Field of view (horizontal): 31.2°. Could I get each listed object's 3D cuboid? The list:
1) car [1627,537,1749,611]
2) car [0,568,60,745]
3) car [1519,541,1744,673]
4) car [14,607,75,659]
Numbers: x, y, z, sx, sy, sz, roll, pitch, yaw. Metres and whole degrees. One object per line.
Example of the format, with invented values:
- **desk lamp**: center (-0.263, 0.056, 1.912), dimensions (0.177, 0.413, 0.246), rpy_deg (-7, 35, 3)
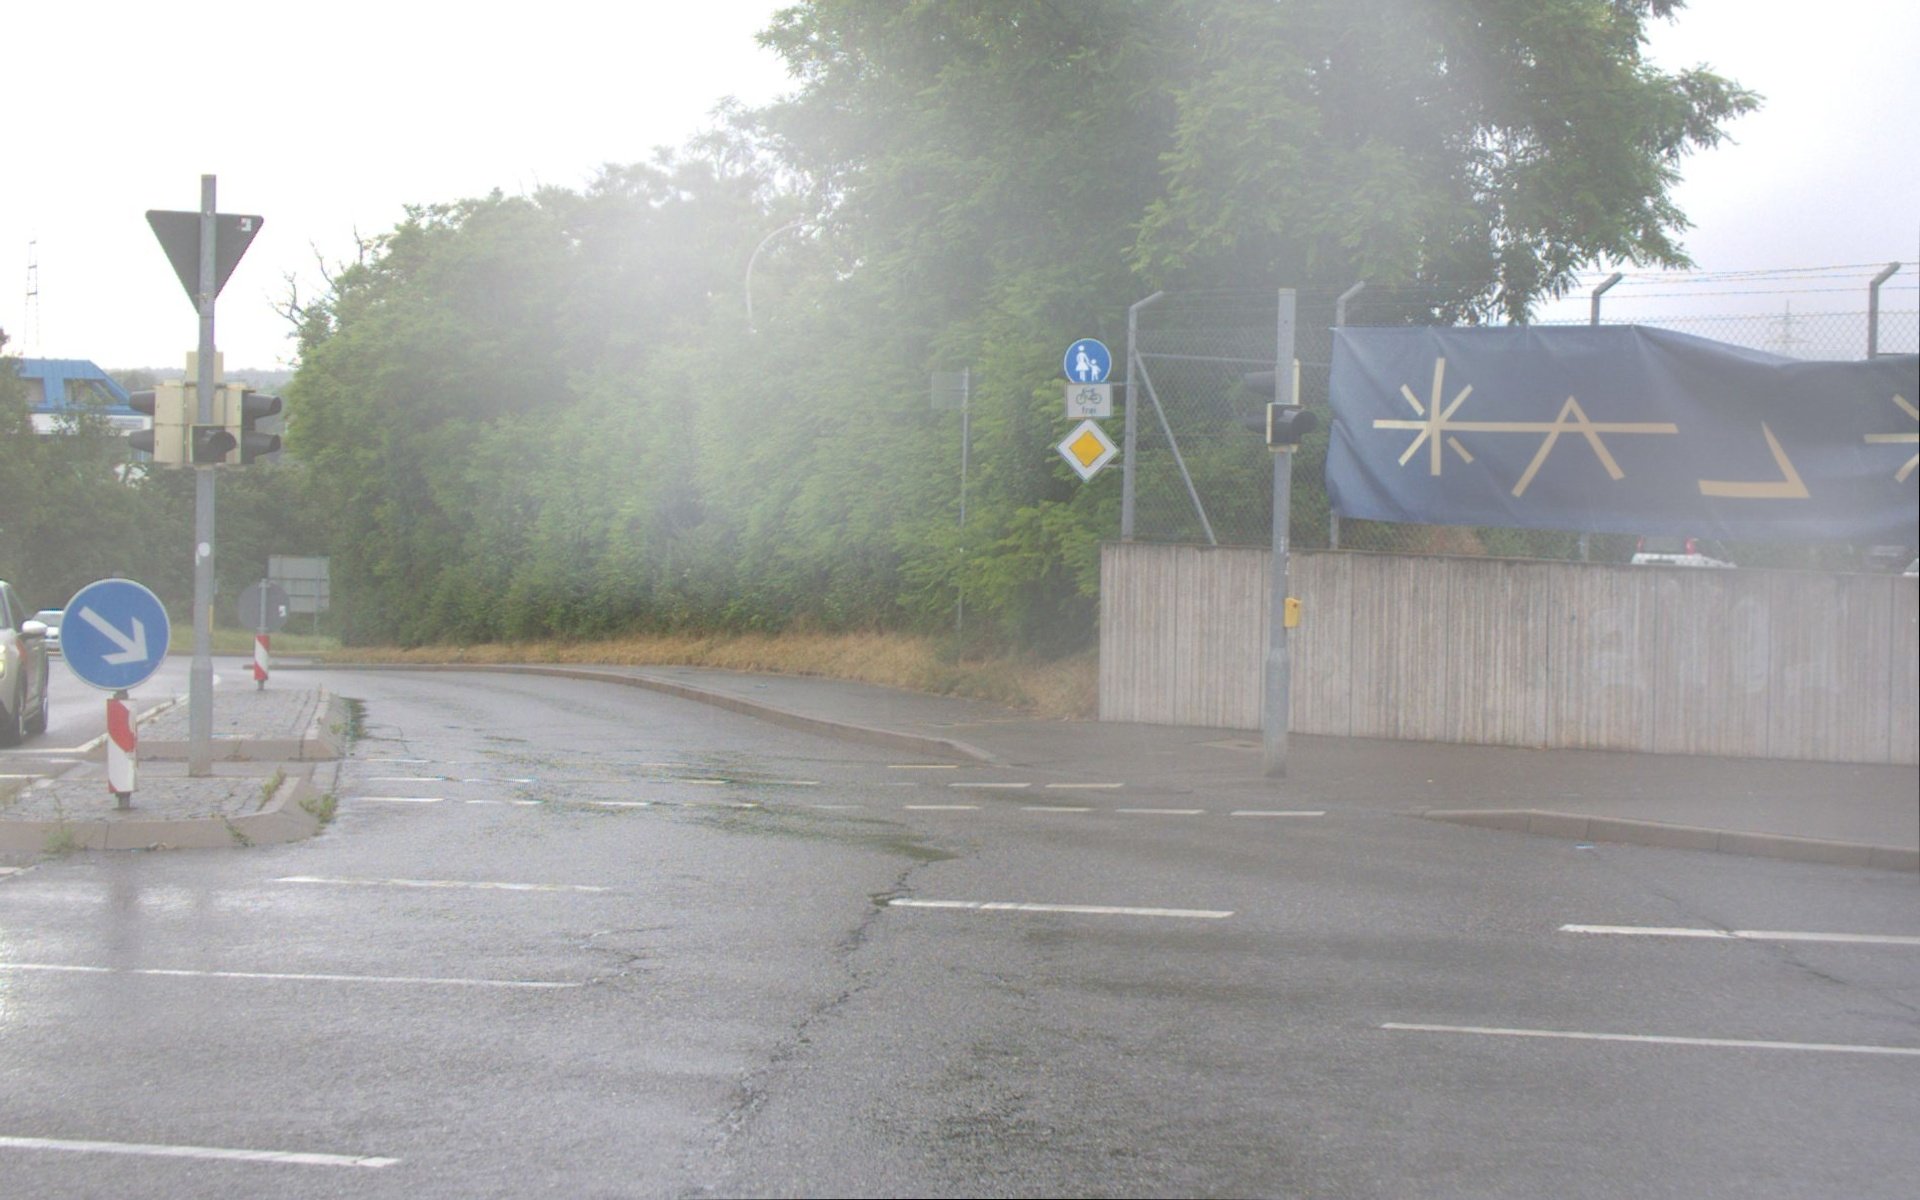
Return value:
- **car**: center (16.148, -0.571, 76.145), dimensions (1.669, 1.601, 3.525), rpy_deg (1, 1, 29)
- **car**: center (-9.086, 0.460, 30.759), dimensions (1.661, 1.489, 4.001), rpy_deg (1, 0, -10)
- **car**: center (8.454, 0.069, 43.127), dimensions (1.745, 1.564, 3.525), rpy_deg (1, 1, 29)
- **car**: center (-26.929, 0.956, 101.235), dimensions (1.652, 1.424, 3.794), rpy_deg (1, 1, -14)
